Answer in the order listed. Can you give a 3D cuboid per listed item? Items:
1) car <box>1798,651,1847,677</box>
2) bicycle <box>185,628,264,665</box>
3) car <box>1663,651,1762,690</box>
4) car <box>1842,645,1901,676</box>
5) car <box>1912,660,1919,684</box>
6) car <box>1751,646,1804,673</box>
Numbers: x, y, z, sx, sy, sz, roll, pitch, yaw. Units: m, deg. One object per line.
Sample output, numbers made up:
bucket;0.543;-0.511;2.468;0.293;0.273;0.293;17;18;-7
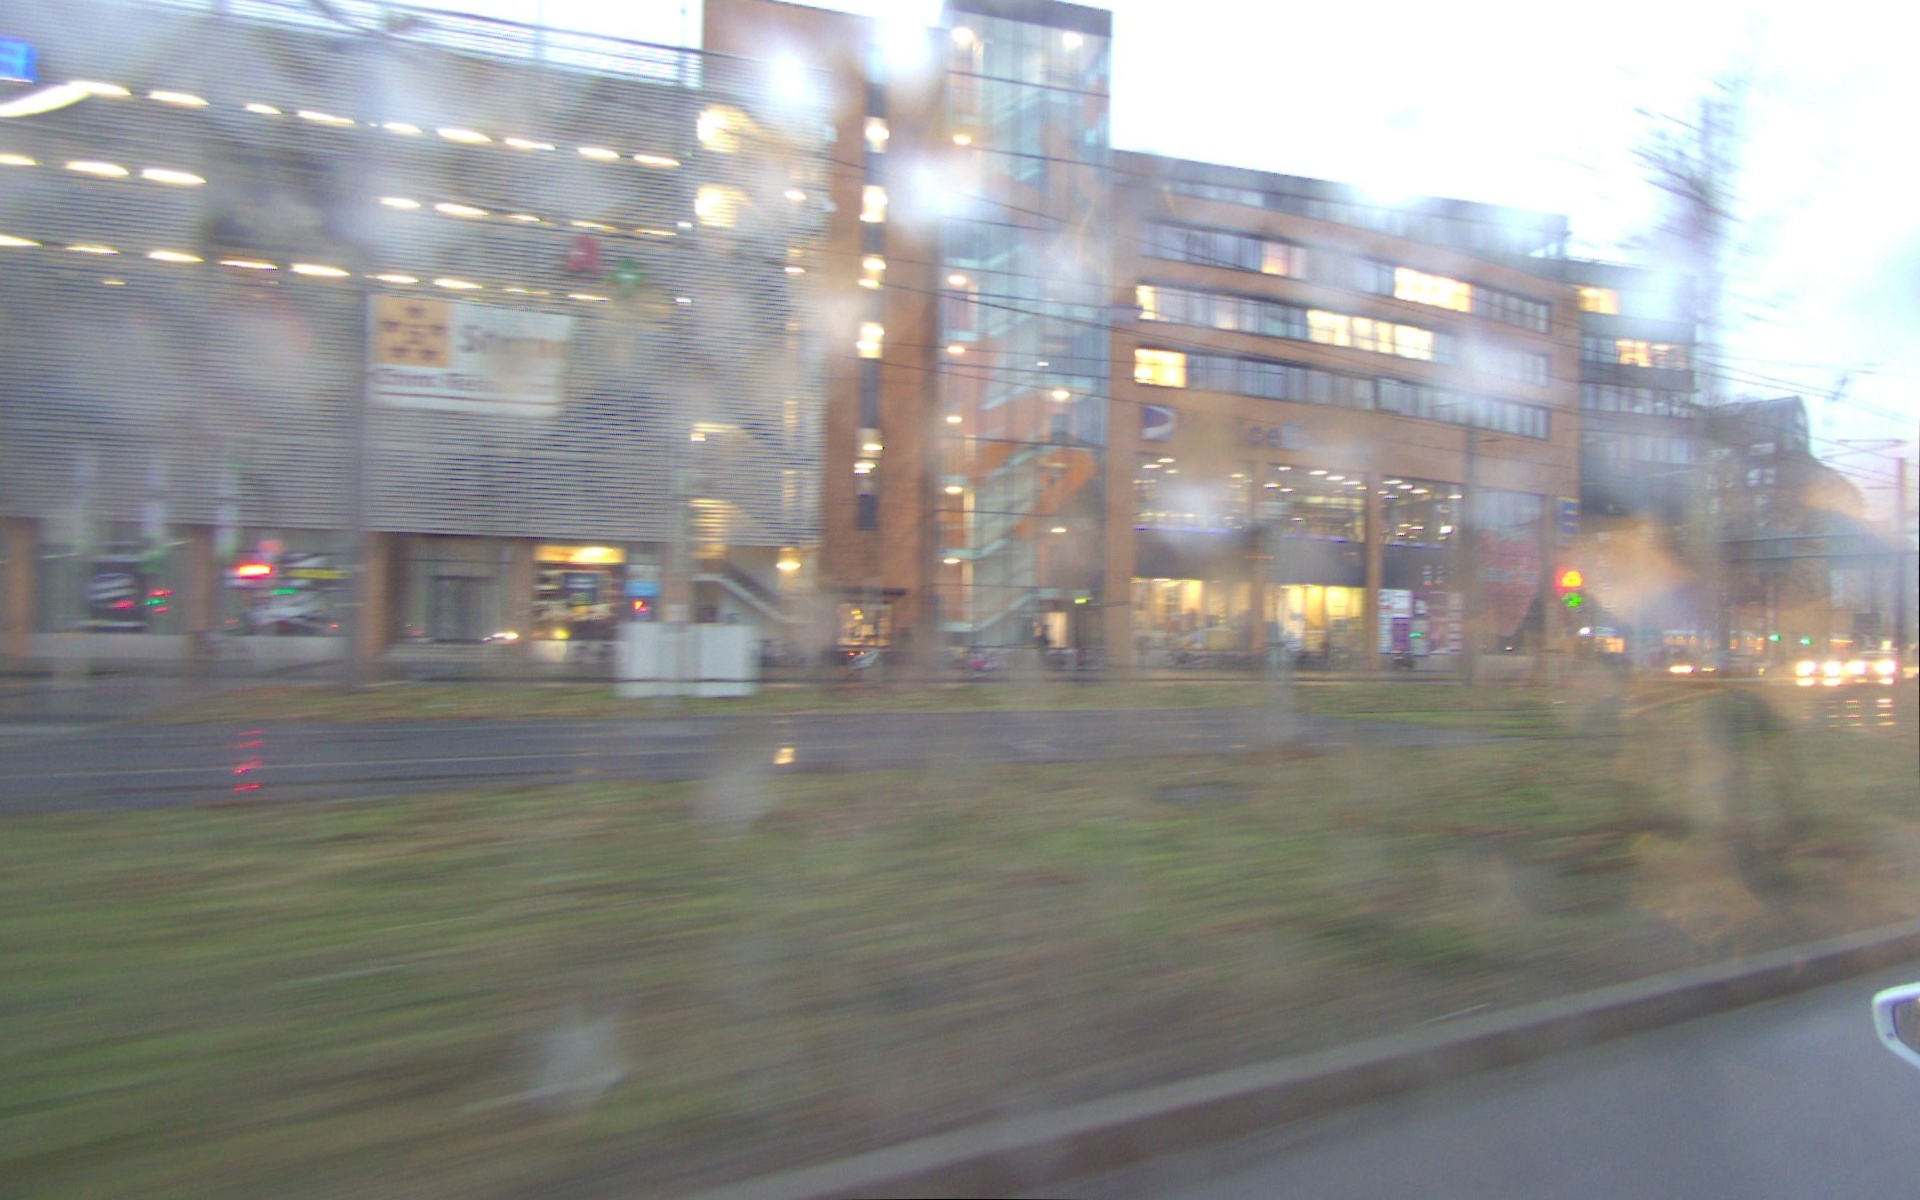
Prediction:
car;50.684;3.742;59.008;3.516;1.420;1.495;3;-2;-37
bicycle;-24.664;1.560;33.699;2.056;1.136;0.476;3;-2;-14
car;30.103;2.799;40.166;3.911;1.461;1.806;2;-2;-31
car;44.936;2.990;49.520;3.619;1.390;1.495;4;-3;-37
car;58.922;4.371;60.079;4.148;1.411;1.722;2;-2;-29
car;55.063;4.018;67.648;3.578;1.714;1.625;3;-2;-29
